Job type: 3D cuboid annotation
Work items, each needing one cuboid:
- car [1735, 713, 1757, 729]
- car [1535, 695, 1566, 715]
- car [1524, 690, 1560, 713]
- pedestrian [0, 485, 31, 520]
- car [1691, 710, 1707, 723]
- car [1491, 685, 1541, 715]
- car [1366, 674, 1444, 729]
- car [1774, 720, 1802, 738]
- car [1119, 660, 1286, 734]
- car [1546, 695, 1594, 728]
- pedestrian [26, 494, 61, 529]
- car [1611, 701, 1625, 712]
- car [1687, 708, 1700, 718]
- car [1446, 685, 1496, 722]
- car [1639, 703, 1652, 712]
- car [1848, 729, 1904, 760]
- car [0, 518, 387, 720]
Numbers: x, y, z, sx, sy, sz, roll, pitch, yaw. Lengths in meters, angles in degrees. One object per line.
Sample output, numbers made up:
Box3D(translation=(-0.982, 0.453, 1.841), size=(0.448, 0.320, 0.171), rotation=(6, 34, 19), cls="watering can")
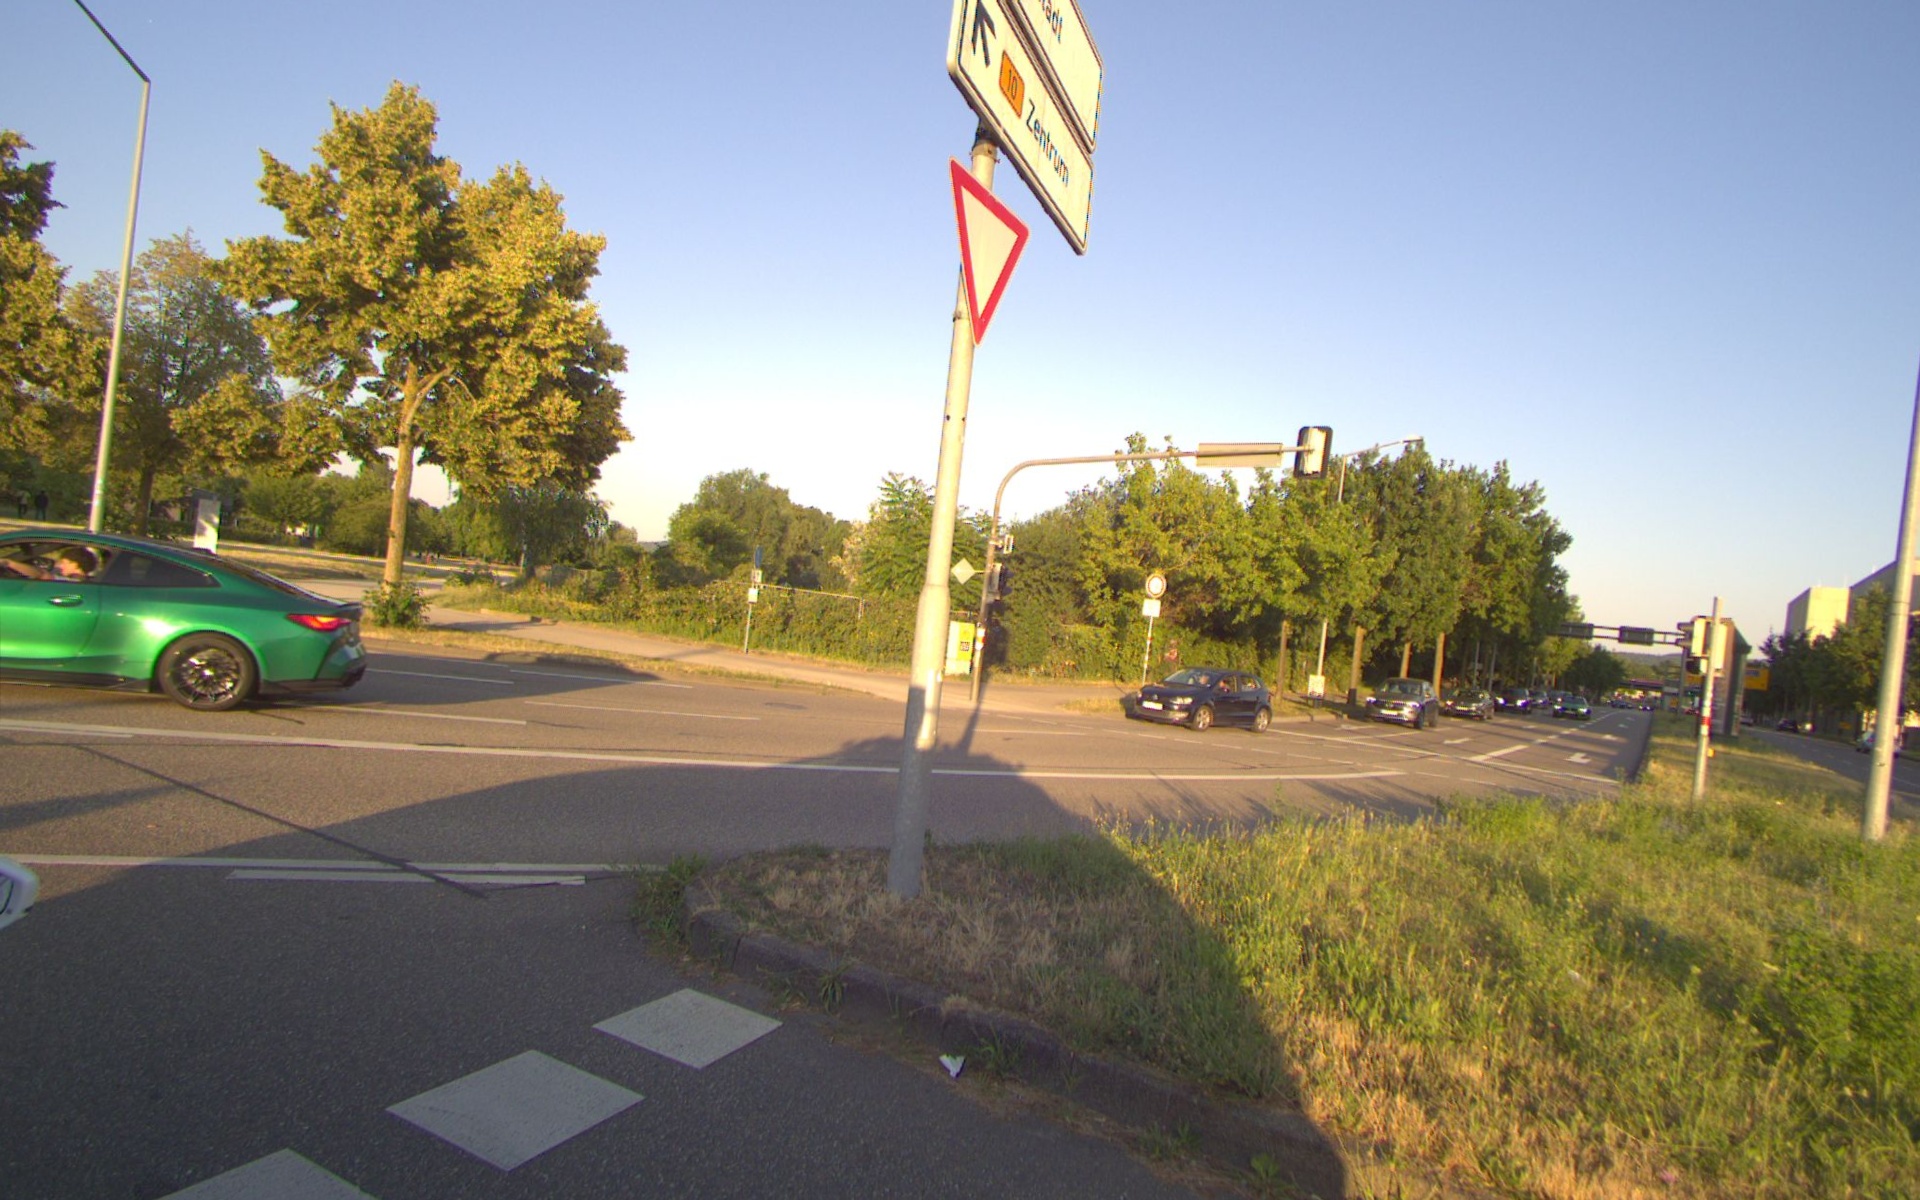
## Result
Box3D(translation=(97.683, 15.010, 124.970), size=(1.971, 1.615, 3.984), rotation=(7, -1, 40), cls="car")
Box3D(translation=(51.503, 9.153, 87.726), size=(1.839, 1.406, 4.150), rotation=(7, -1, 36), cls="car")
Box3D(translation=(44.310, 7.746, 76.507), size=(1.839, 1.406, 4.150), rotation=(7, -1, 36), cls="car")
Box3D(translation=(-49.496, -5.097, 52.586), size=(0.896, 1.637, 1.070), rotation=(7, 0, 34), cls="pedestrian")
Box3D(translation=(123.421, 19.401, 168.114), size=(1.969, 1.804, 3.988), rotation=(7, -1, 37), cls="car")
Box3D(translation=(35.436, 6.392, 64.031), size=(1.970, 1.592, 4.400), rotation=(7, -1, 38), cls="car")
Box3D(translation=(15.773, 3.557, 35.540), size=(1.967, 1.656, 4.519), rotation=(3, -3, 30), cls="car")
Box3D(translation=(90.607, 14.141, 110.136), size=(1.969, 1.593, 3.987), rotation=(7, -1, 37), cls="car")
Box3D(translation=(5.604, 2.242, 23.016), size=(3.972, 1.369, 1.676), rotation=(8, -4, -41), cls="car")
Box3D(translation=(38.820, 7.043, 64.082), size=(1.964, 1.598, 4.482), rotation=(9, 0, 26), cls="car")
Box3D(translation=(-48.820, -4.710, 53.588), size=(0.896, 1.637, 1.070), rotation=(7, 0, 34), cls="pedestrian")
Box3D(translation=(116.898, 18.937, 178.781), size=(1.885, 1.602, 4.172), rotation=(7, -1, 33), cls="car")
Box3D(translation=(148.215, 22.807, 203.335), size=(1.969, 1.804, 3.988), rotation=(7, -1, 37), cls="car")
Box3D(translation=(25.250, 5.067, 49.648), size=(1.854, 1.481, 4.664), rotation=(7, -1, 30), cls="car")
Box3D(translation=(136.692, 21.371, 200.562), size=(1.969, 1.523, 4.758), rotation=(7, -1, 35), cls="car")
Box3D(translation=(59.975, 9.434, 65.948), size=(1.969, 1.527, 5.171), rotation=(7, -1, 36), cls="car")
Box3D(translation=(-7.906, 0.065, 8.911), size=(4.678, 1.388, 1.987), rotation=(8, -1, -26), cls="car")
